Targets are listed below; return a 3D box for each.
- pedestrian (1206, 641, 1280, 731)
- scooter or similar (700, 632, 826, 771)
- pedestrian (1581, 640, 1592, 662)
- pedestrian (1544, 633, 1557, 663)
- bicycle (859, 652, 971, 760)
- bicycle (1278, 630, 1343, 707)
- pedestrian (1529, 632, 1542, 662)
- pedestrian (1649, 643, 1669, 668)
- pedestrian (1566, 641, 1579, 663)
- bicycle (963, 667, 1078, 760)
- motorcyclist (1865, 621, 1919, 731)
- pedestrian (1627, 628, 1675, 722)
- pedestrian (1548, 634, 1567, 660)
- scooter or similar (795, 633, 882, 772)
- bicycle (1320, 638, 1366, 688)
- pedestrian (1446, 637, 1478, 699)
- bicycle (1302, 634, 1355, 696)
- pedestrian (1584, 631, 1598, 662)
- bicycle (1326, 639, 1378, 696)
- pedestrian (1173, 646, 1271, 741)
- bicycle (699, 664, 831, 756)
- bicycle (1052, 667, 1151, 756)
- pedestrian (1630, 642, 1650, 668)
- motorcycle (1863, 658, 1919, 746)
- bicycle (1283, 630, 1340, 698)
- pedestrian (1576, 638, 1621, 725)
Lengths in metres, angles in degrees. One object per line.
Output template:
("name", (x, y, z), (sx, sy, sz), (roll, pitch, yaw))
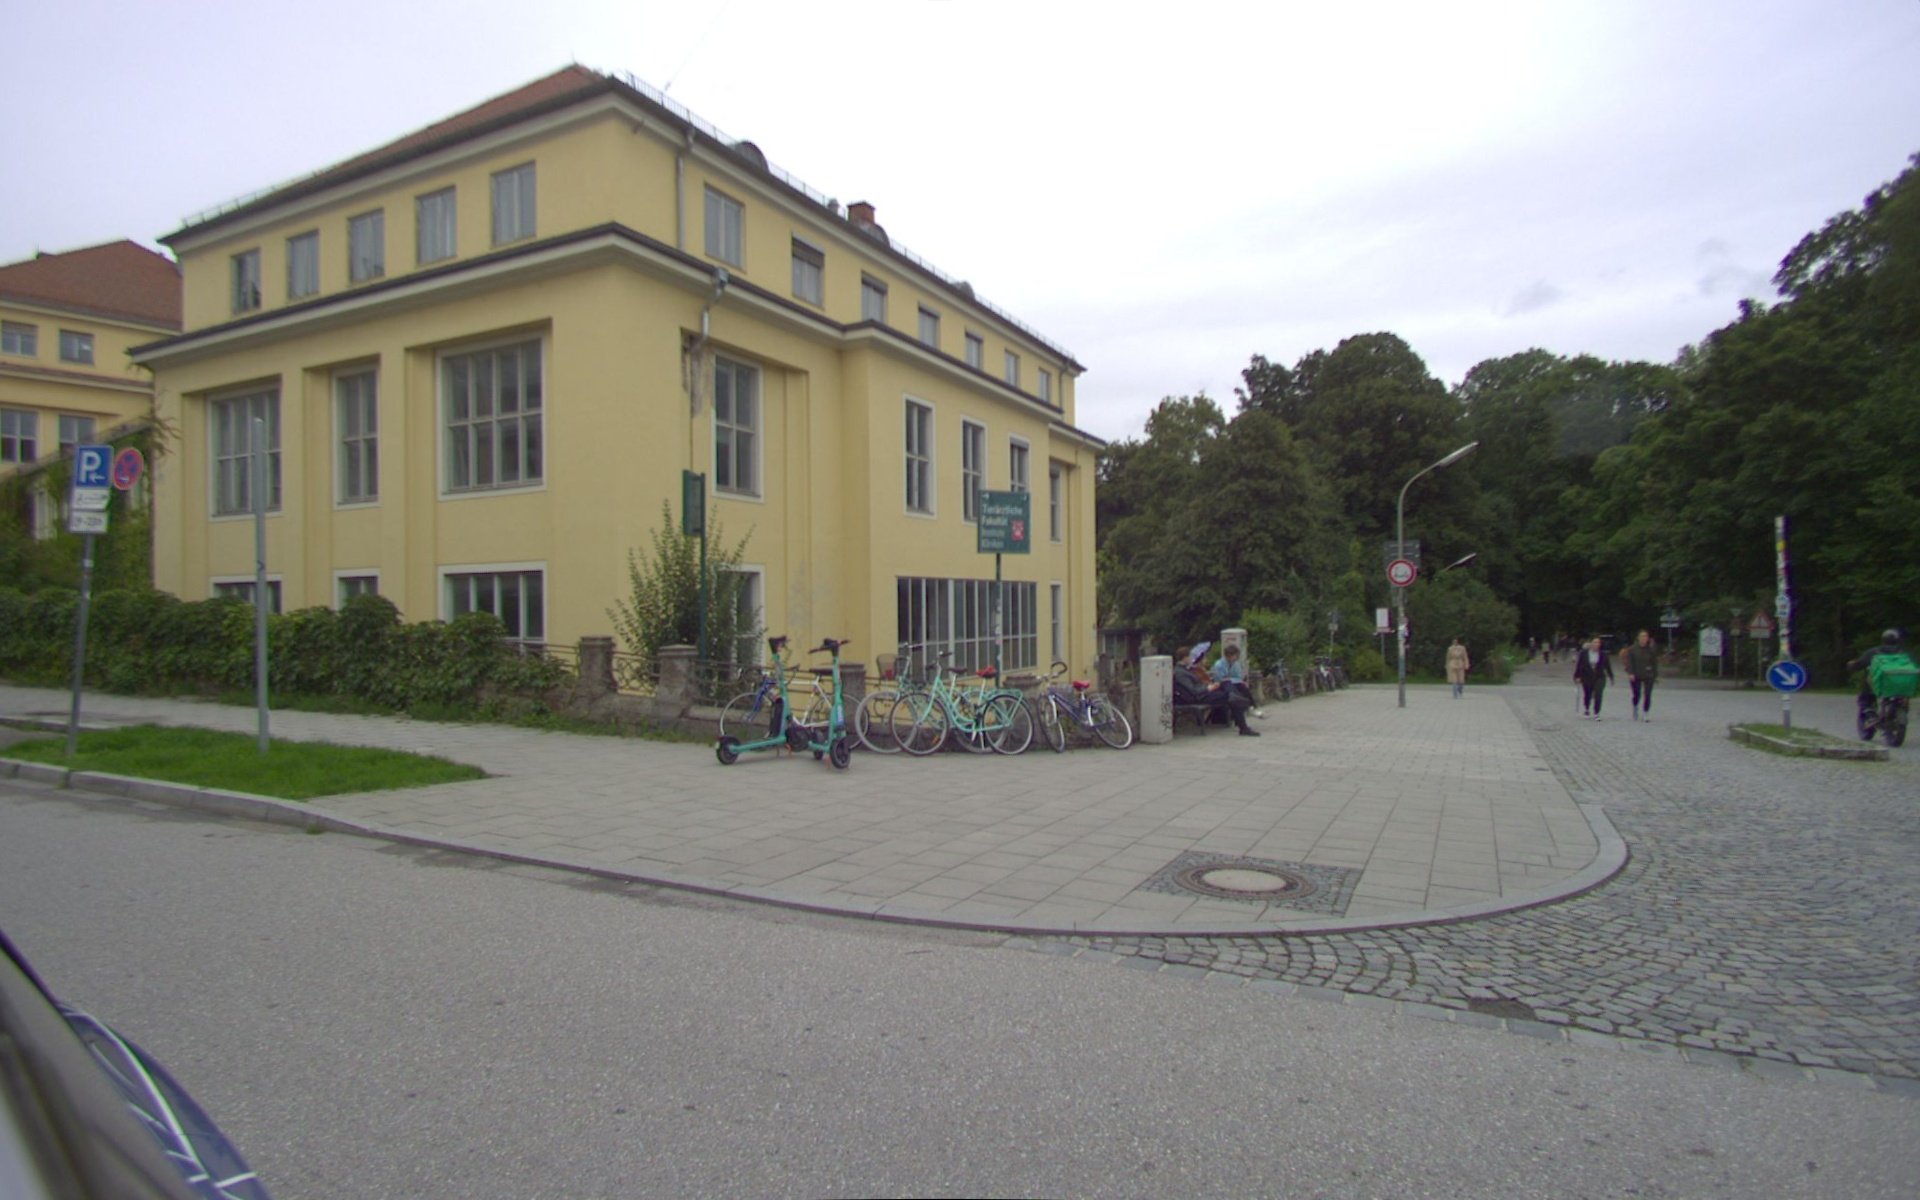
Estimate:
("pedestrian", (4.496, 1.333, 16.051), (1.025, 1.345, 0.949), (-1, -1, 22))
("scooter or similar", (-1.928, 0.966, 10.026), (0.394, 1.253, 1.247), (1, 0, 39))
("pedestrian", (42.927, 3.501, 69.392), (0.537, 1.506, 0.539), (-1, -2, 25))
("pedestrian", (40.366, 3.274, 69.161), (0.693, 2.029, 0.711), (-2, -3, 28))
("bicycle", (-0.482, 1.133, 11.002), (1.171, 1.119, 0.302), (1, -1, -21))
("bicycle", (8.392, 1.592, 24.379), (1.041, 1.674, 3.140), (-1, -1, 12))
("pedestrian", (39.578, 3.207, 69.560), (0.693, 2.029, 0.711), (-2, -3, 28))
("pedestrian", (46.845, 3.738, 67.828), (0.873, 1.665, 0.731), (-1, -2, 11))
("pedestrian", (42.177, 3.599, 69.646), (0.660, 1.506, 0.623), (-1, -2, 25))
("bicycle", (0.691, 1.269, 11.512), (1.254, 0.985, 0.416), (1, -2, -25))
("motorcyclist", (13.414, 1.056, 14.401), (0.713, 1.512, 0.887), (-2, -2, 39))
("pedestrian", (12.959, 1.379, 18.998), (0.658, 1.710, 0.744), (-1, -1, 30))
("pedestrian", (45.963, 3.608, 77.860), (1.045, 2.029, 1.140), (-1, -2, 22))
("scooter or similar", (-1.191, 0.952, 9.777), (0.432, 1.221, 1.056), (1, 0, -30))
("bicycle", (13.885, 2.246, 36.817), (1.041, 1.674, 3.140), (-1, -1, 11))
("pedestrian", (14.378, 1.938, 29.008), (0.745, 1.719, 1.102), (-1, -1, 24))
("bicycle", (10.970, 1.898, 30.239), (1.042, 1.674, 3.140), (-1, -1, 12))
("pedestrian", (41.656, 3.064, 66.828), (0.693, 2.029, 0.711), (-2, -3, 28))
("bicycle", (12.580, 2.123, 32.569), (1.042, 1.674, 3.140), (-1, -1, 12))
("pedestrian", (3.771, 1.309, 14.528), (1.257, 1.278, 0.844), (-1, -1, 22))
("bicycle", (-2.106, 1.175, 10.949), (1.315, 0.900, 0.433), (1, -1, 10))
("bicycle", (1.727, 1.332, 12.295), (1.255, 0.985, 0.415), (1, -2, -36))
("pedestrian", (44.328, 3.578, 65.977), (0.721, 1.665, 0.884), (1, -3, -37))
("motorcycle", (13.482, 1.419, 14.462), (0.717, 1.107, 1.952), (-2, -1, 38))
("bicycle", (9.478, 1.687, 27.423), (1.041, 1.674, 2.992), (-1, -1, 12))
("pedestrian", (12.209, 1.534, 19.372), (0.690, 1.593, 0.743), (-1, -1, 32))
